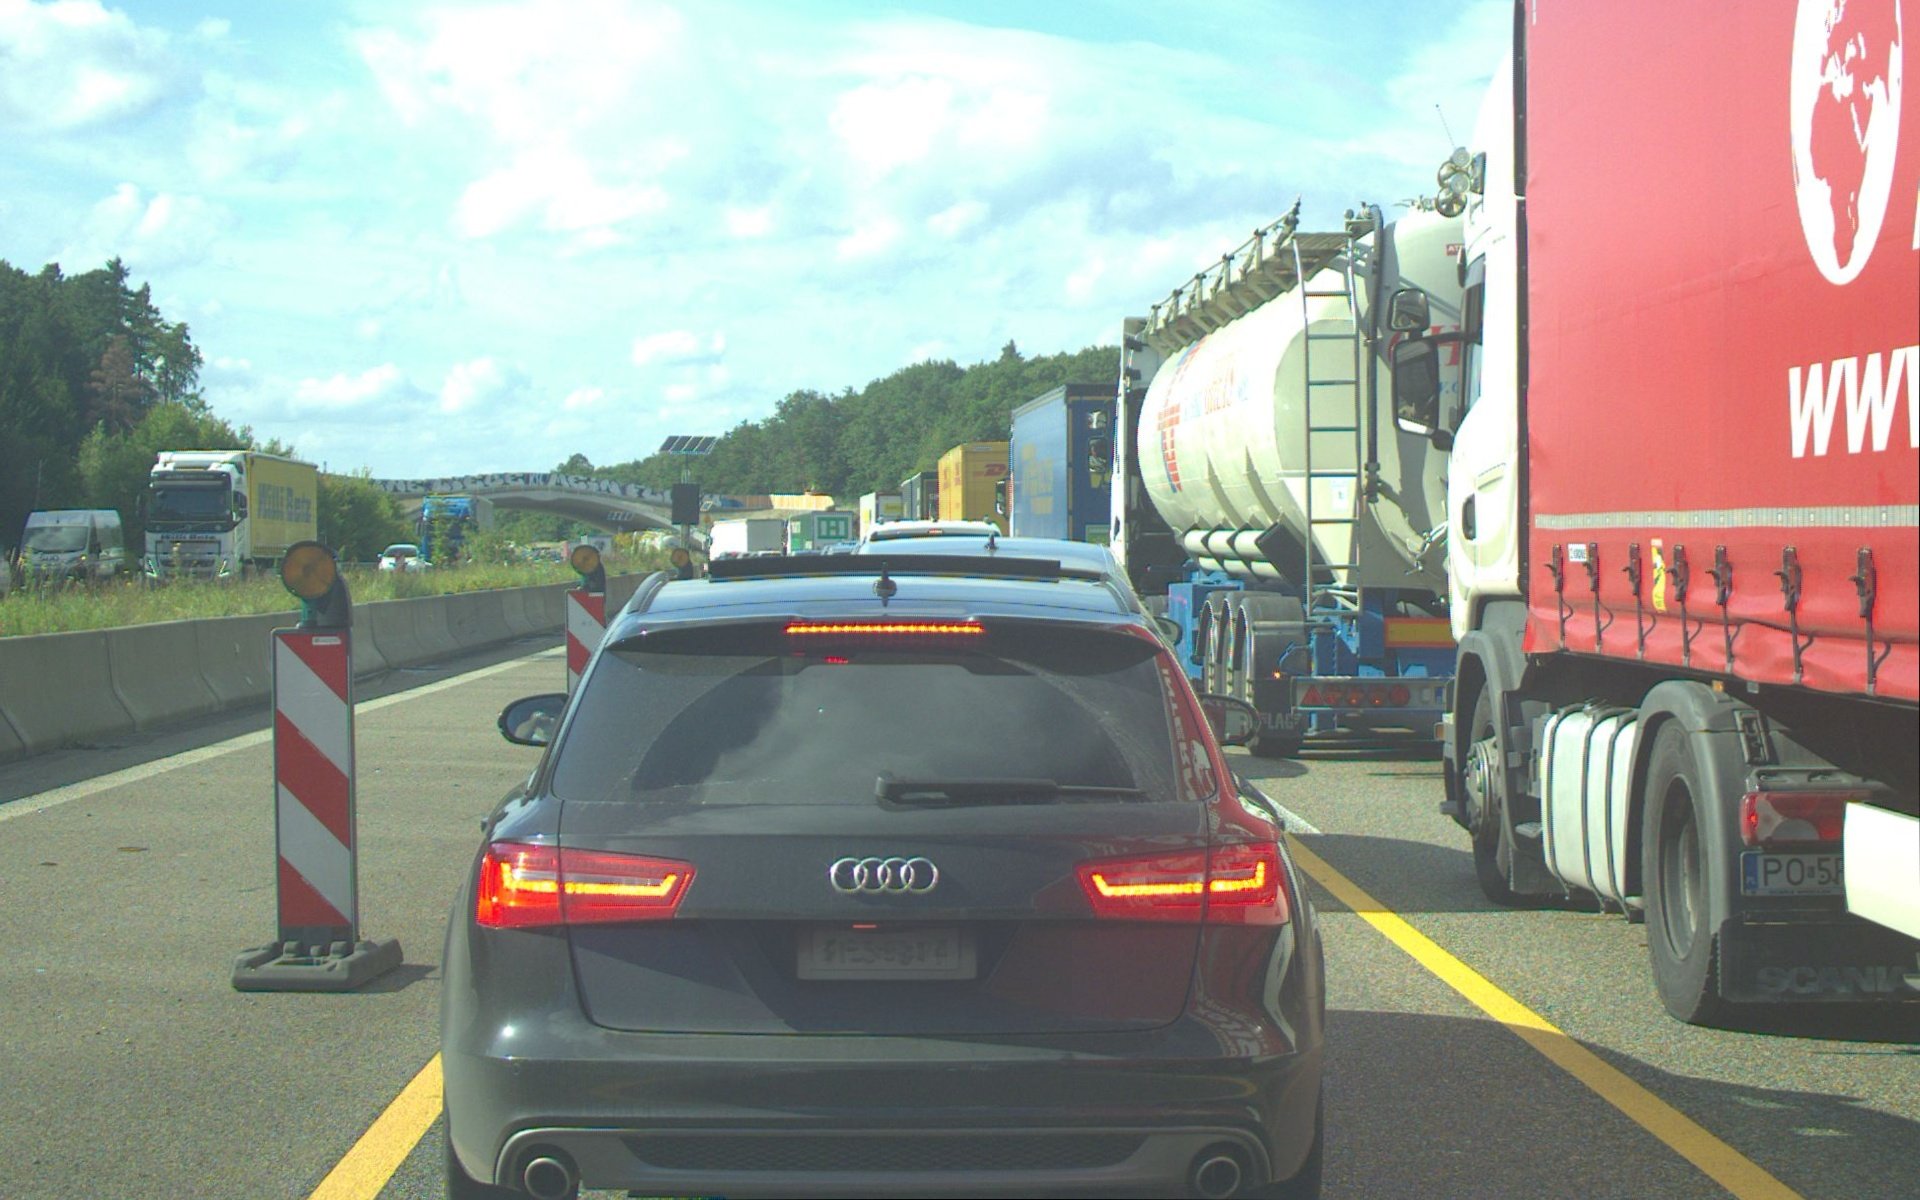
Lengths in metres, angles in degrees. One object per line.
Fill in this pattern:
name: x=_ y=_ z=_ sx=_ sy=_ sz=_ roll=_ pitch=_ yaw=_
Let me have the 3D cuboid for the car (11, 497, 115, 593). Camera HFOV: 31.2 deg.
car: x=-25.381 y=-1.545 z=97.454 sx=2.250 sy=2.634 sz=5.021 roll=1 pitch=0 yaw=-8

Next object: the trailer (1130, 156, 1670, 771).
trailer: x=3.155 y=-0.970 z=28.511 sx=2.644 sy=3.929 sz=12.598 roll=1 pitch=1 yaw=-1

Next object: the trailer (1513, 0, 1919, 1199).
trailer: x=3.615 y=-0.496 z=6.303 sx=2.699 sy=3.955 sz=13.418 roll=1 pitch=1 yaw=-1

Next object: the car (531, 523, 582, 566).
car: x=-19.032 y=-2.604 z=162.200 sx=1.993 sy=1.941 sz=4.000 roll=1 pitch=0 yaw=-1

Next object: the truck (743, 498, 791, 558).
truck: x=-13.890 y=-5.145 z=246.349 sx=3.303 sy=4.160 sz=9.704 roll=1 pitch=1 yaw=-4

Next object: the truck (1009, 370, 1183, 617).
truck: x=2.477 y=-1.932 z=65.050 sx=2.806 sy=4.354 sz=7.792 roll=1 pitch=0 yaw=-1

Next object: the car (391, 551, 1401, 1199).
car: x=-0.139 y=0.628 z=8.317 sx=1.848 sy=1.458 sz=4.000 roll=0 pitch=0 yaw=-1

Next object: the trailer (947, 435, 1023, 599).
trailer: x=0.584 y=-2.023 z=85.681 sx=1.616 sy=3.905 sz=6.490 roll=1 pitch=0 yaw=-1

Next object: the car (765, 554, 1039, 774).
car: x=-0.393 y=0.398 z=24.000 sx=1.751 sy=1.392 sz=3.608 roll=1 pitch=0 yaw=-1

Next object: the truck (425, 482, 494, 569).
truck: x=-24.635 y=-3.671 z=169.511 sx=2.637 sy=4.175 sz=5.468 roll=1 pitch=1 yaw=-1

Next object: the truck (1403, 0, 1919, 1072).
truck: x=3.457 y=-0.632 z=12.929 sx=2.667 sy=3.946 sz=5.711 roll=1 pitch=1 yaw=-1

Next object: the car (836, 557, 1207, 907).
car: x=0.237 y=0.535 z=15.966 sx=1.524 sy=1.434 sz=3.285 roll=1 pitch=0 yaw=-1

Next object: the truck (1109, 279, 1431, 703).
truck: x=3.057 y=-1.054 z=35.382 sx=2.659 sy=3.958 sz=5.779 roll=1 pitch=0 yaw=-1

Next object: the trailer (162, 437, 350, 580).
trailer: x=-20.783 y=-2.605 z=102.440 sx=2.827 sy=3.909 sz=13.941 roll=1 pitch=0 yaw=-1

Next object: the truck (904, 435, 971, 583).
truck: x=-0.819 y=-3.102 z=119.024 sx=1.993 sy=4.897 sz=9.563 roll=1 pitch=1 yaw=-2

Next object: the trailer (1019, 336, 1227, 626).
trailer: x=2.585 y=-1.866 z=57.923 sx=2.805 sy=4.398 sz=10.433 roll=1 pitch=0 yaw=-1

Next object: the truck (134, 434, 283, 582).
truck: x=-20.706 y=-2.490 z=94.984 sx=2.826 sy=3.895 sz=5.949 roll=1 pitch=0 yaw=-1

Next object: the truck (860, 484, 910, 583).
truck: x=-3.308 y=-2.906 z=152.390 sx=2.137 sy=4.243 sz=7.072 roll=1 pitch=0 yaw=-1

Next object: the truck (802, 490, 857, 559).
truck: x=-8.156 y=-4.658 z=214.335 sx=3.304 sy=4.160 sz=9.703 roll=0 pitch=1 yaw=-2

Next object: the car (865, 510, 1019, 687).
car: x=-0.203 y=-0.031 z=37.466 sx=1.581 sy=1.830 sz=3.112 roll=1 pitch=0 yaw=-1
